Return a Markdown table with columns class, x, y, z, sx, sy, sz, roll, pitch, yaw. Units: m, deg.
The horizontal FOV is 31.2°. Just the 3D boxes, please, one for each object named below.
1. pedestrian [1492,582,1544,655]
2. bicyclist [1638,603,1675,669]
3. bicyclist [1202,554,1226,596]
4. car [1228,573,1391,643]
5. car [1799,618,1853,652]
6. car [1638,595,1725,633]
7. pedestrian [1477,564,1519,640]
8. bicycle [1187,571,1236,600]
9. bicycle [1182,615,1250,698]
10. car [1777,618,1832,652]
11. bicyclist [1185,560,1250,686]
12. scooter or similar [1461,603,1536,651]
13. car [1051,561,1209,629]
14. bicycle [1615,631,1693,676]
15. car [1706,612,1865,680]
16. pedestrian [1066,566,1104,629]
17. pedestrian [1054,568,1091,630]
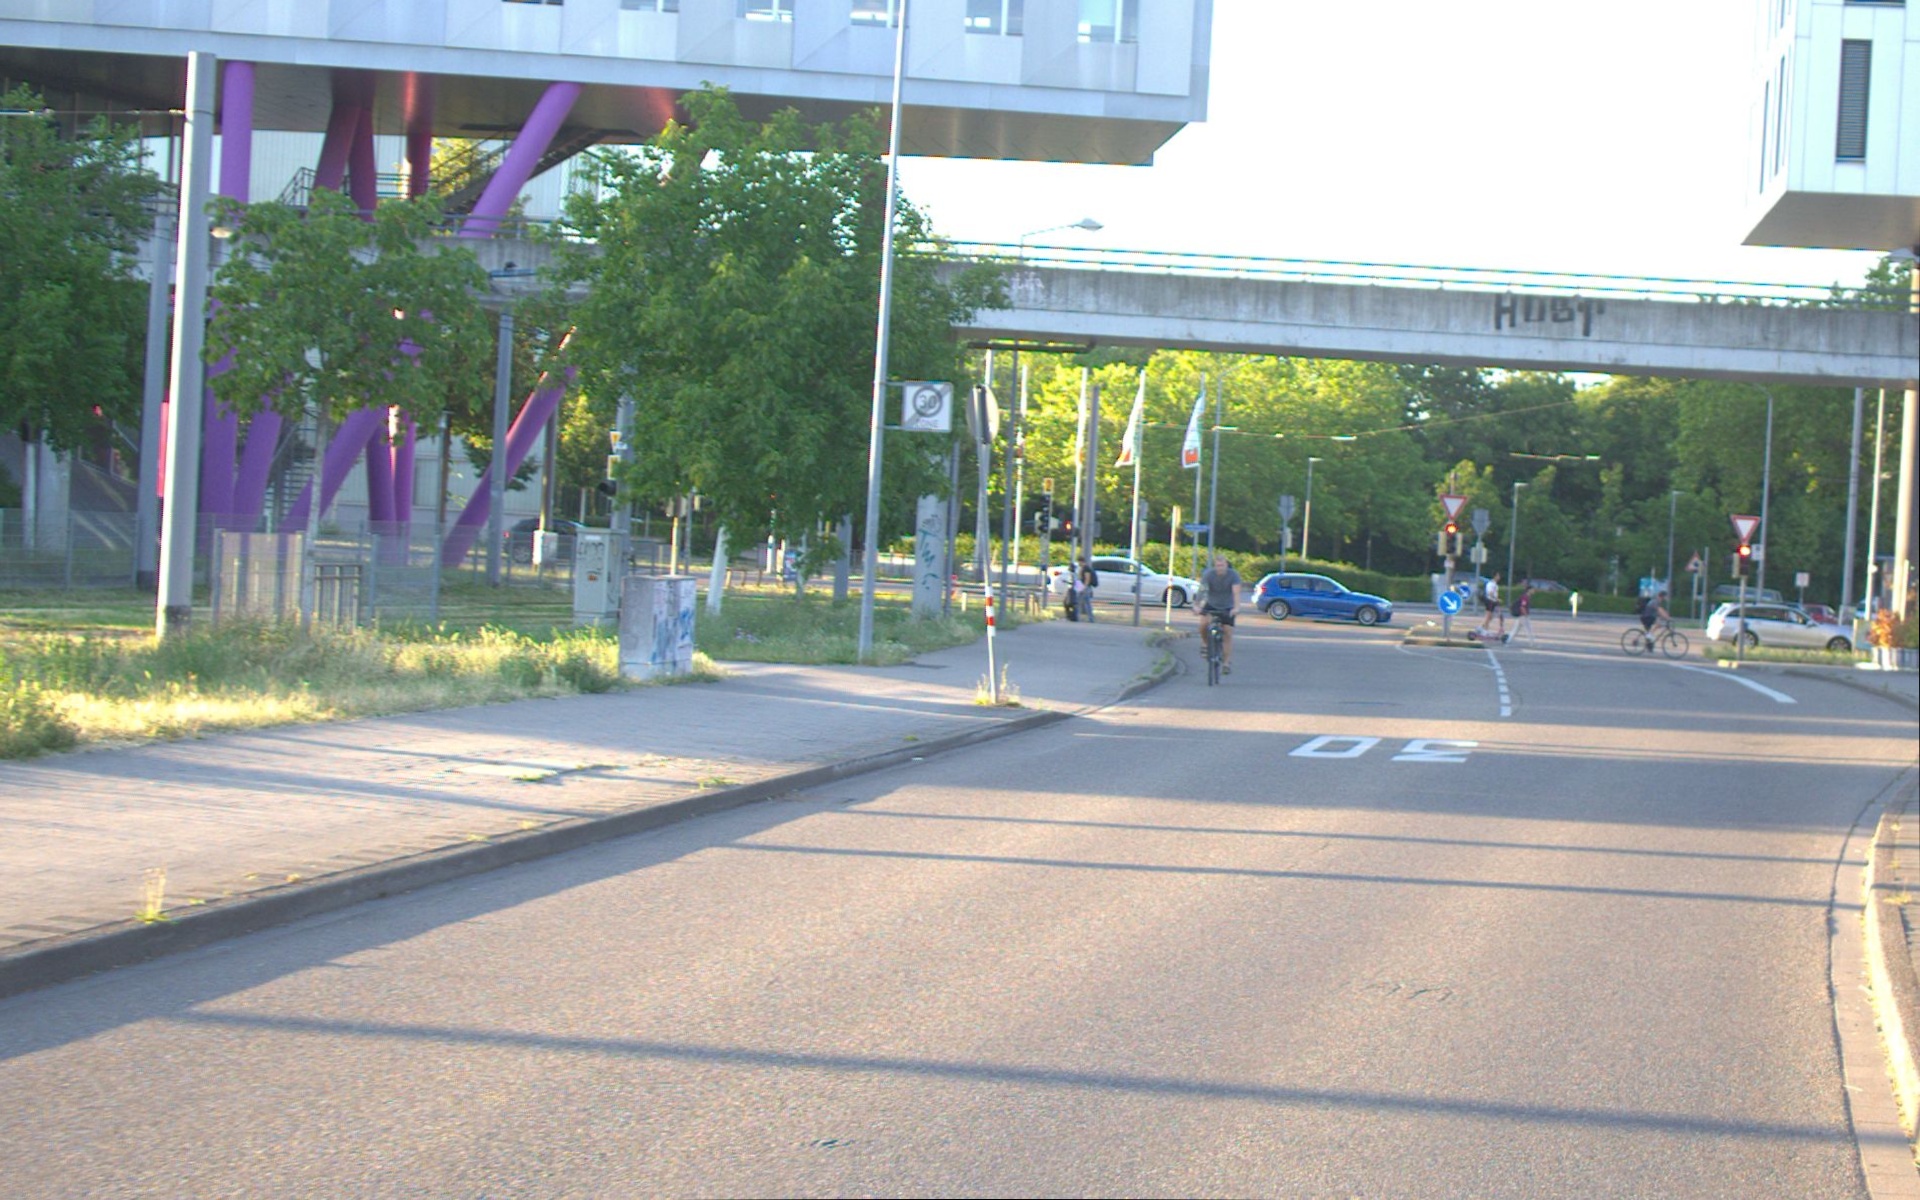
| class | x | y | z | sx | sy | sz | roll | pitch | yaw |
| --- | --- | --- | --- | --- | --- | --- | --- | --- | --- |
| pedestrian | 14.741 | 0.481 | 90.855 | 1.053 | 1.827 | 0.895 | 3 | 1 | -4 |
| bicyclist | 18.817 | 0.964 | 92.845 | 0.861 | 1.725 | 0.605 | 4 | 2 | 14 |
| bicyclist | 10.760 | -1.070 | 145.796 | 0.756 | 1.717 | 0.552 | 3 | 2 | -16 |
| car | 10.670 | 0.235 | 105.153 | 4.713 | 1.822 | 1.893 | 3 | 2 | 0 |
| car | 44.717 | 1.807 | 177.511 | 1.500 | 1.600 | 3.396 | 4 | 2 | 36 |
| car | 41.630 | 0.775 | 198.251 | 4.688 | 1.862 | 2.011 | 4 | 2 | 16 |
| pedestrian | 14.605 | 0.051 | 93.374 | 0.909 | 1.984 | 0.771 | 3 | 1 | 1 |
| bicycle | 10.667 | -0.630 | 145.767 | 1.962 | 1.124 | 0.560 | 3 | 2 | -16 |
| bicycle | 3.497 | 0.759 | 46.874 | 0.539 | 1.039 | 1.924 | 4 | 2 | 14 |
| car | 42.832 | 1.791 | 174.330 | 1.500 | 1.600 | 3.396 | 4 | 2 | 36 |
| bicyclist | 3.511 | 0.303 | 46.858 | 0.615 | 1.657 | 1.035 | 4 | 2 | 14 |
| scooter or similar | 14.628 | 0.741 | 93.385 | 1.860 | 1.170 | 0.764 | 3 | 2 | 1 |
| car | 5.403 | -0.169 | 109.083 | 4.689 | 1.822 | 1.834 | 4 | 2 | 10 |
| bicycle | 18.743 | 1.442 | 92.868 | 1.972 | 1.088 | 0.621 | 4 | 2 | 13 |
| car | 24.991 | 1.386 | 104.163 | 4.415 | 1.718 | 1.834 | 4 | 2 | 8 |
| pedestrian | 3.389 | -0.068 | 93.392 | 0.701 | 1.658 | 0.711 | 4 | 2 | 27 |
| pedestrian | 3.035 | -0.038 | 92.718 | 0.687 | 1.618 | 0.711 | 4 | 2 | 27 |
